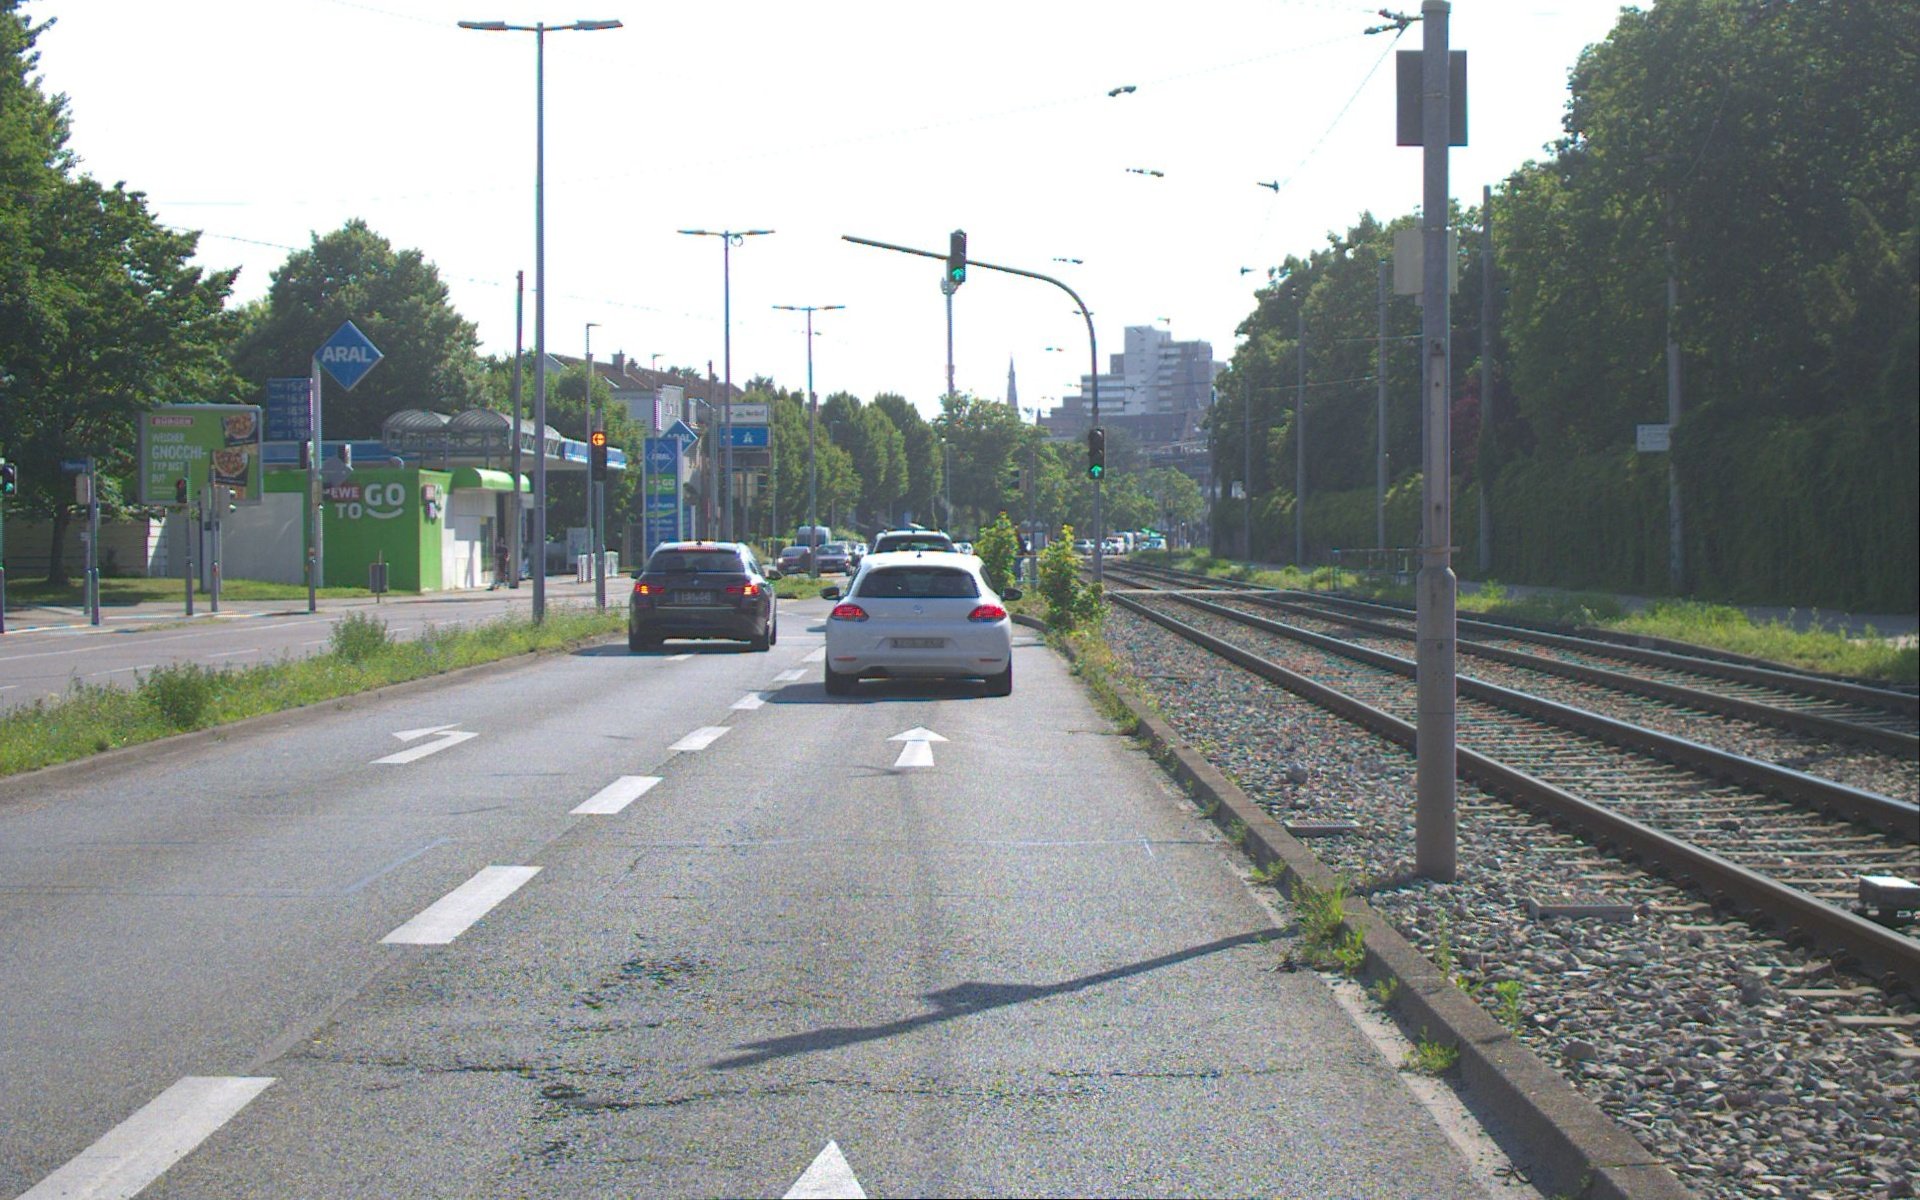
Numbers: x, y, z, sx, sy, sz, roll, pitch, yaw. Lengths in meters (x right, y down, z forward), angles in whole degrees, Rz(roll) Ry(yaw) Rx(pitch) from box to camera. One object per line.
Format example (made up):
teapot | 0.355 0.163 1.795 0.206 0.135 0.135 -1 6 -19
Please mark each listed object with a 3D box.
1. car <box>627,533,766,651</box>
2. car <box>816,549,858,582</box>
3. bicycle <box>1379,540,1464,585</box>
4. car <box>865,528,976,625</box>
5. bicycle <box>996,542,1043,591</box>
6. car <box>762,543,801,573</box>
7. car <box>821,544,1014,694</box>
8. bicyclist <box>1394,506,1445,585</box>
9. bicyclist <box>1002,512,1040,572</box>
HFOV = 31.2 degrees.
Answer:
car | -3.559 -0.151 46.996 1.760 1.480 4.646 1 1 -3
car | -5.327 -1.514 149.241 1.653 1.390 4.134 0 1 1
bicycle | 11.621 -0.946 86.565 1.923 1.111 0.946 0 1 25
car | -0.706 -0.433 59.377 1.724 1.587 3.602 1 1 -3
bicycle | 1.443 -0.803 82.420 0.644 1.150 1.935 0 1 16
car | -8.532 -2.029 164.670 1.574 1.412 3.333 0 1 2
car | -0.402 0.147 34.034 1.781 1.351 3.601 1 1 0
bicyclist | 11.578 -1.372 86.570 1.034 1.987 0.946 0 1 25
bicyclist | 1.464 -1.395 82.540 0.644 1.411 1.012 -1 1 16
